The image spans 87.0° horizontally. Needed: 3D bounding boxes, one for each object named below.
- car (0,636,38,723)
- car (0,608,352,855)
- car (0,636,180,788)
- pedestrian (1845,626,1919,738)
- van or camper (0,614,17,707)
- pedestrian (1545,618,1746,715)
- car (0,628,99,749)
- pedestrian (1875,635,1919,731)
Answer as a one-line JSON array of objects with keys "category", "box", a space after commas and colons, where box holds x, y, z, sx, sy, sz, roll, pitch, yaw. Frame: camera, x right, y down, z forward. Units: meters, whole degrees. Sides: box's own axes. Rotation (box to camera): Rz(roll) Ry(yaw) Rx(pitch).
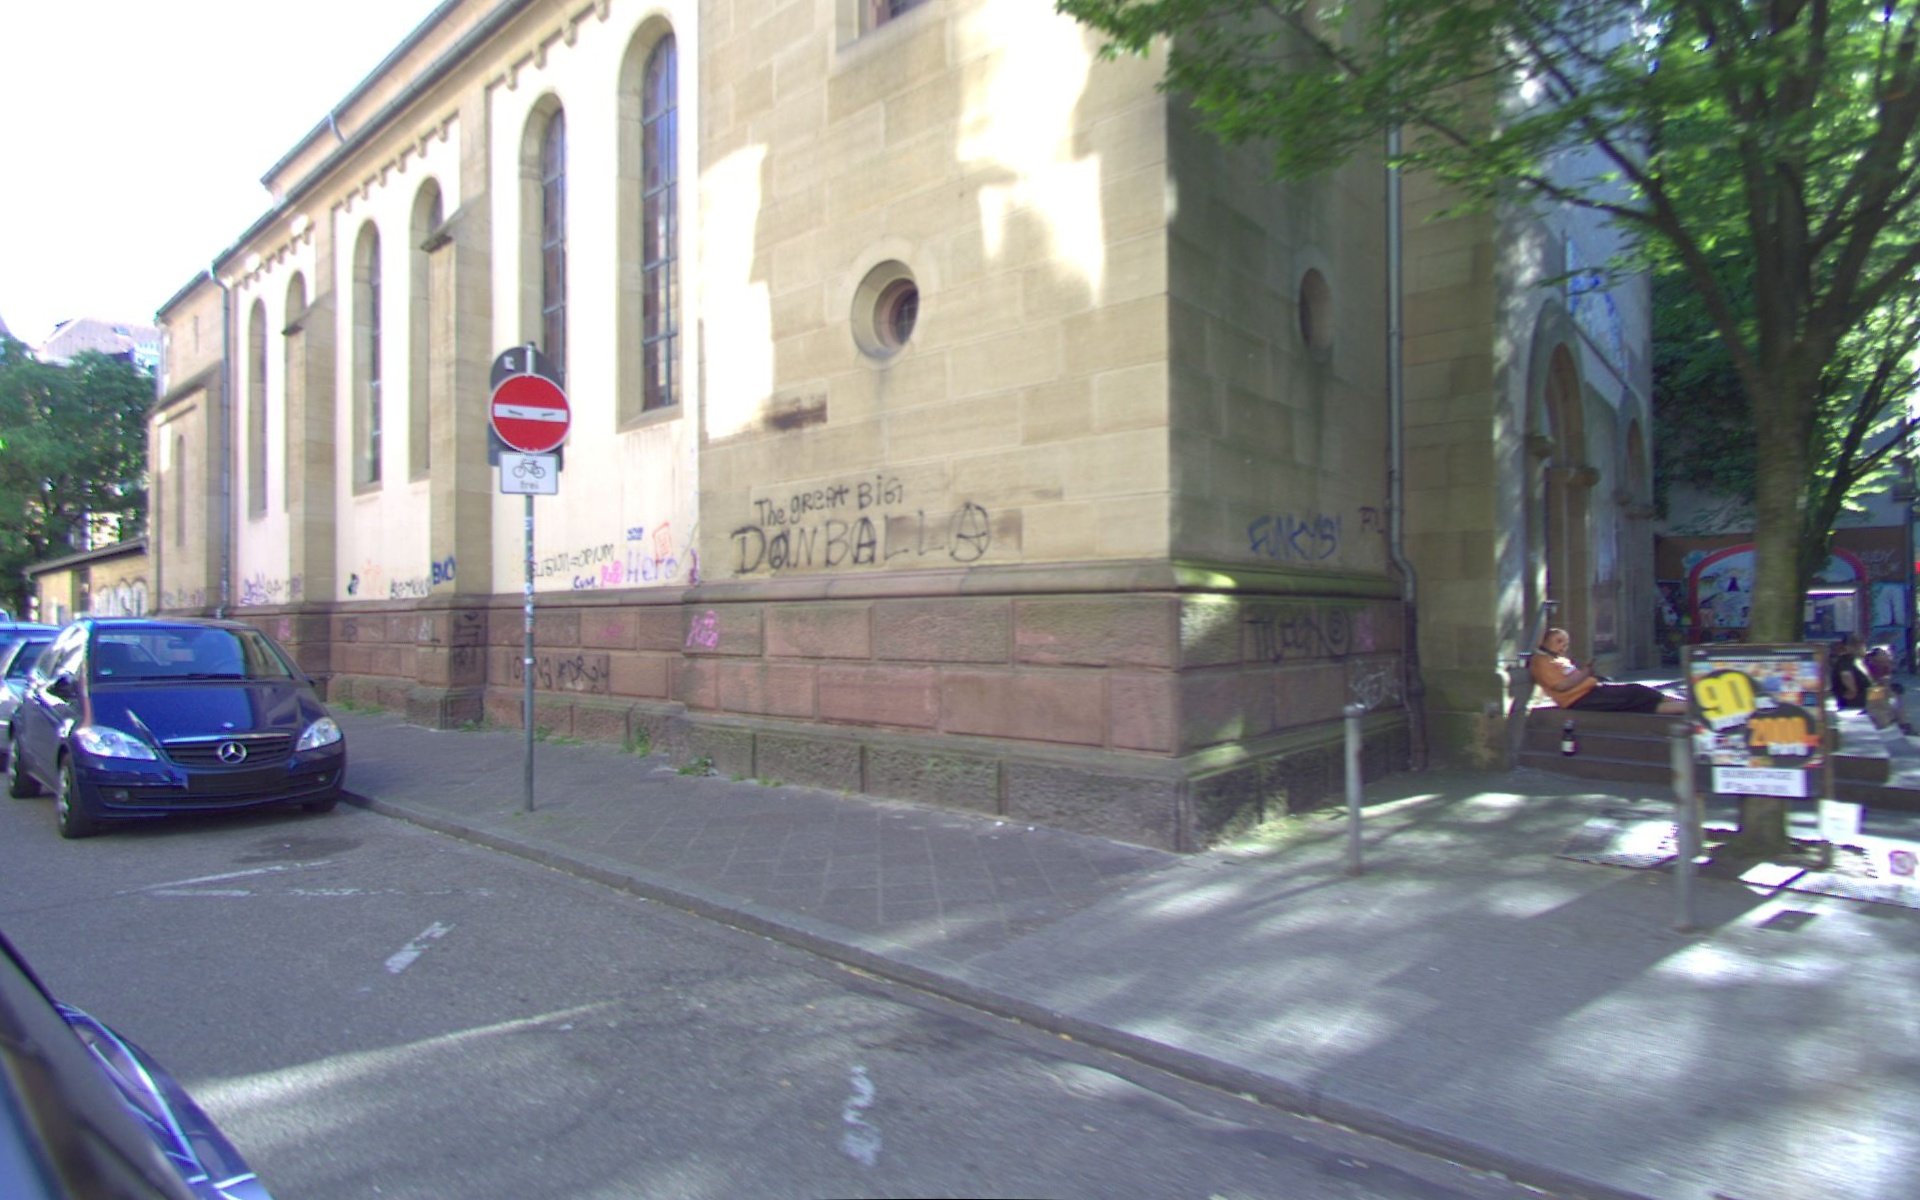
[{"category": "car", "box": [-18.338, 1.430, 18.597, 3.735, 1.492, 1.674, -2, -1, 41]}, {"category": "car", "box": [-6.744, 0.870, 8.462, 3.832, 1.564, 1.775, -1, 0, 41]}, {"category": "car", "box": [-10.453, 1.157, 11.717, 4.145, 1.374, 1.556, -1, 0, 42]}, {"category": "pedestrian", "box": [10.832, 0.941, 11.799, 0.741, 1.241, 0.607, -1, 0, 40]}, {"category": "van or camper", "box": [-22.560, 1.339, 22.449, 4.561, 1.966, 1.958, -2, -1, 41]}, {"category": "pedestrian", "box": [6.162, 0.560, 9.112, 1.406, 0.766, 0.947, -1, 0, 41]}, {"category": "car", "box": [-14.345, 1.244, 15.153, 3.999, 1.579, 1.702, -1, 0, 42]}, {"category": "pedestrian", "box": [11.472, 0.991, 12.293, 0.490, 1.116, 0.608, -1, 0, 40]}]
